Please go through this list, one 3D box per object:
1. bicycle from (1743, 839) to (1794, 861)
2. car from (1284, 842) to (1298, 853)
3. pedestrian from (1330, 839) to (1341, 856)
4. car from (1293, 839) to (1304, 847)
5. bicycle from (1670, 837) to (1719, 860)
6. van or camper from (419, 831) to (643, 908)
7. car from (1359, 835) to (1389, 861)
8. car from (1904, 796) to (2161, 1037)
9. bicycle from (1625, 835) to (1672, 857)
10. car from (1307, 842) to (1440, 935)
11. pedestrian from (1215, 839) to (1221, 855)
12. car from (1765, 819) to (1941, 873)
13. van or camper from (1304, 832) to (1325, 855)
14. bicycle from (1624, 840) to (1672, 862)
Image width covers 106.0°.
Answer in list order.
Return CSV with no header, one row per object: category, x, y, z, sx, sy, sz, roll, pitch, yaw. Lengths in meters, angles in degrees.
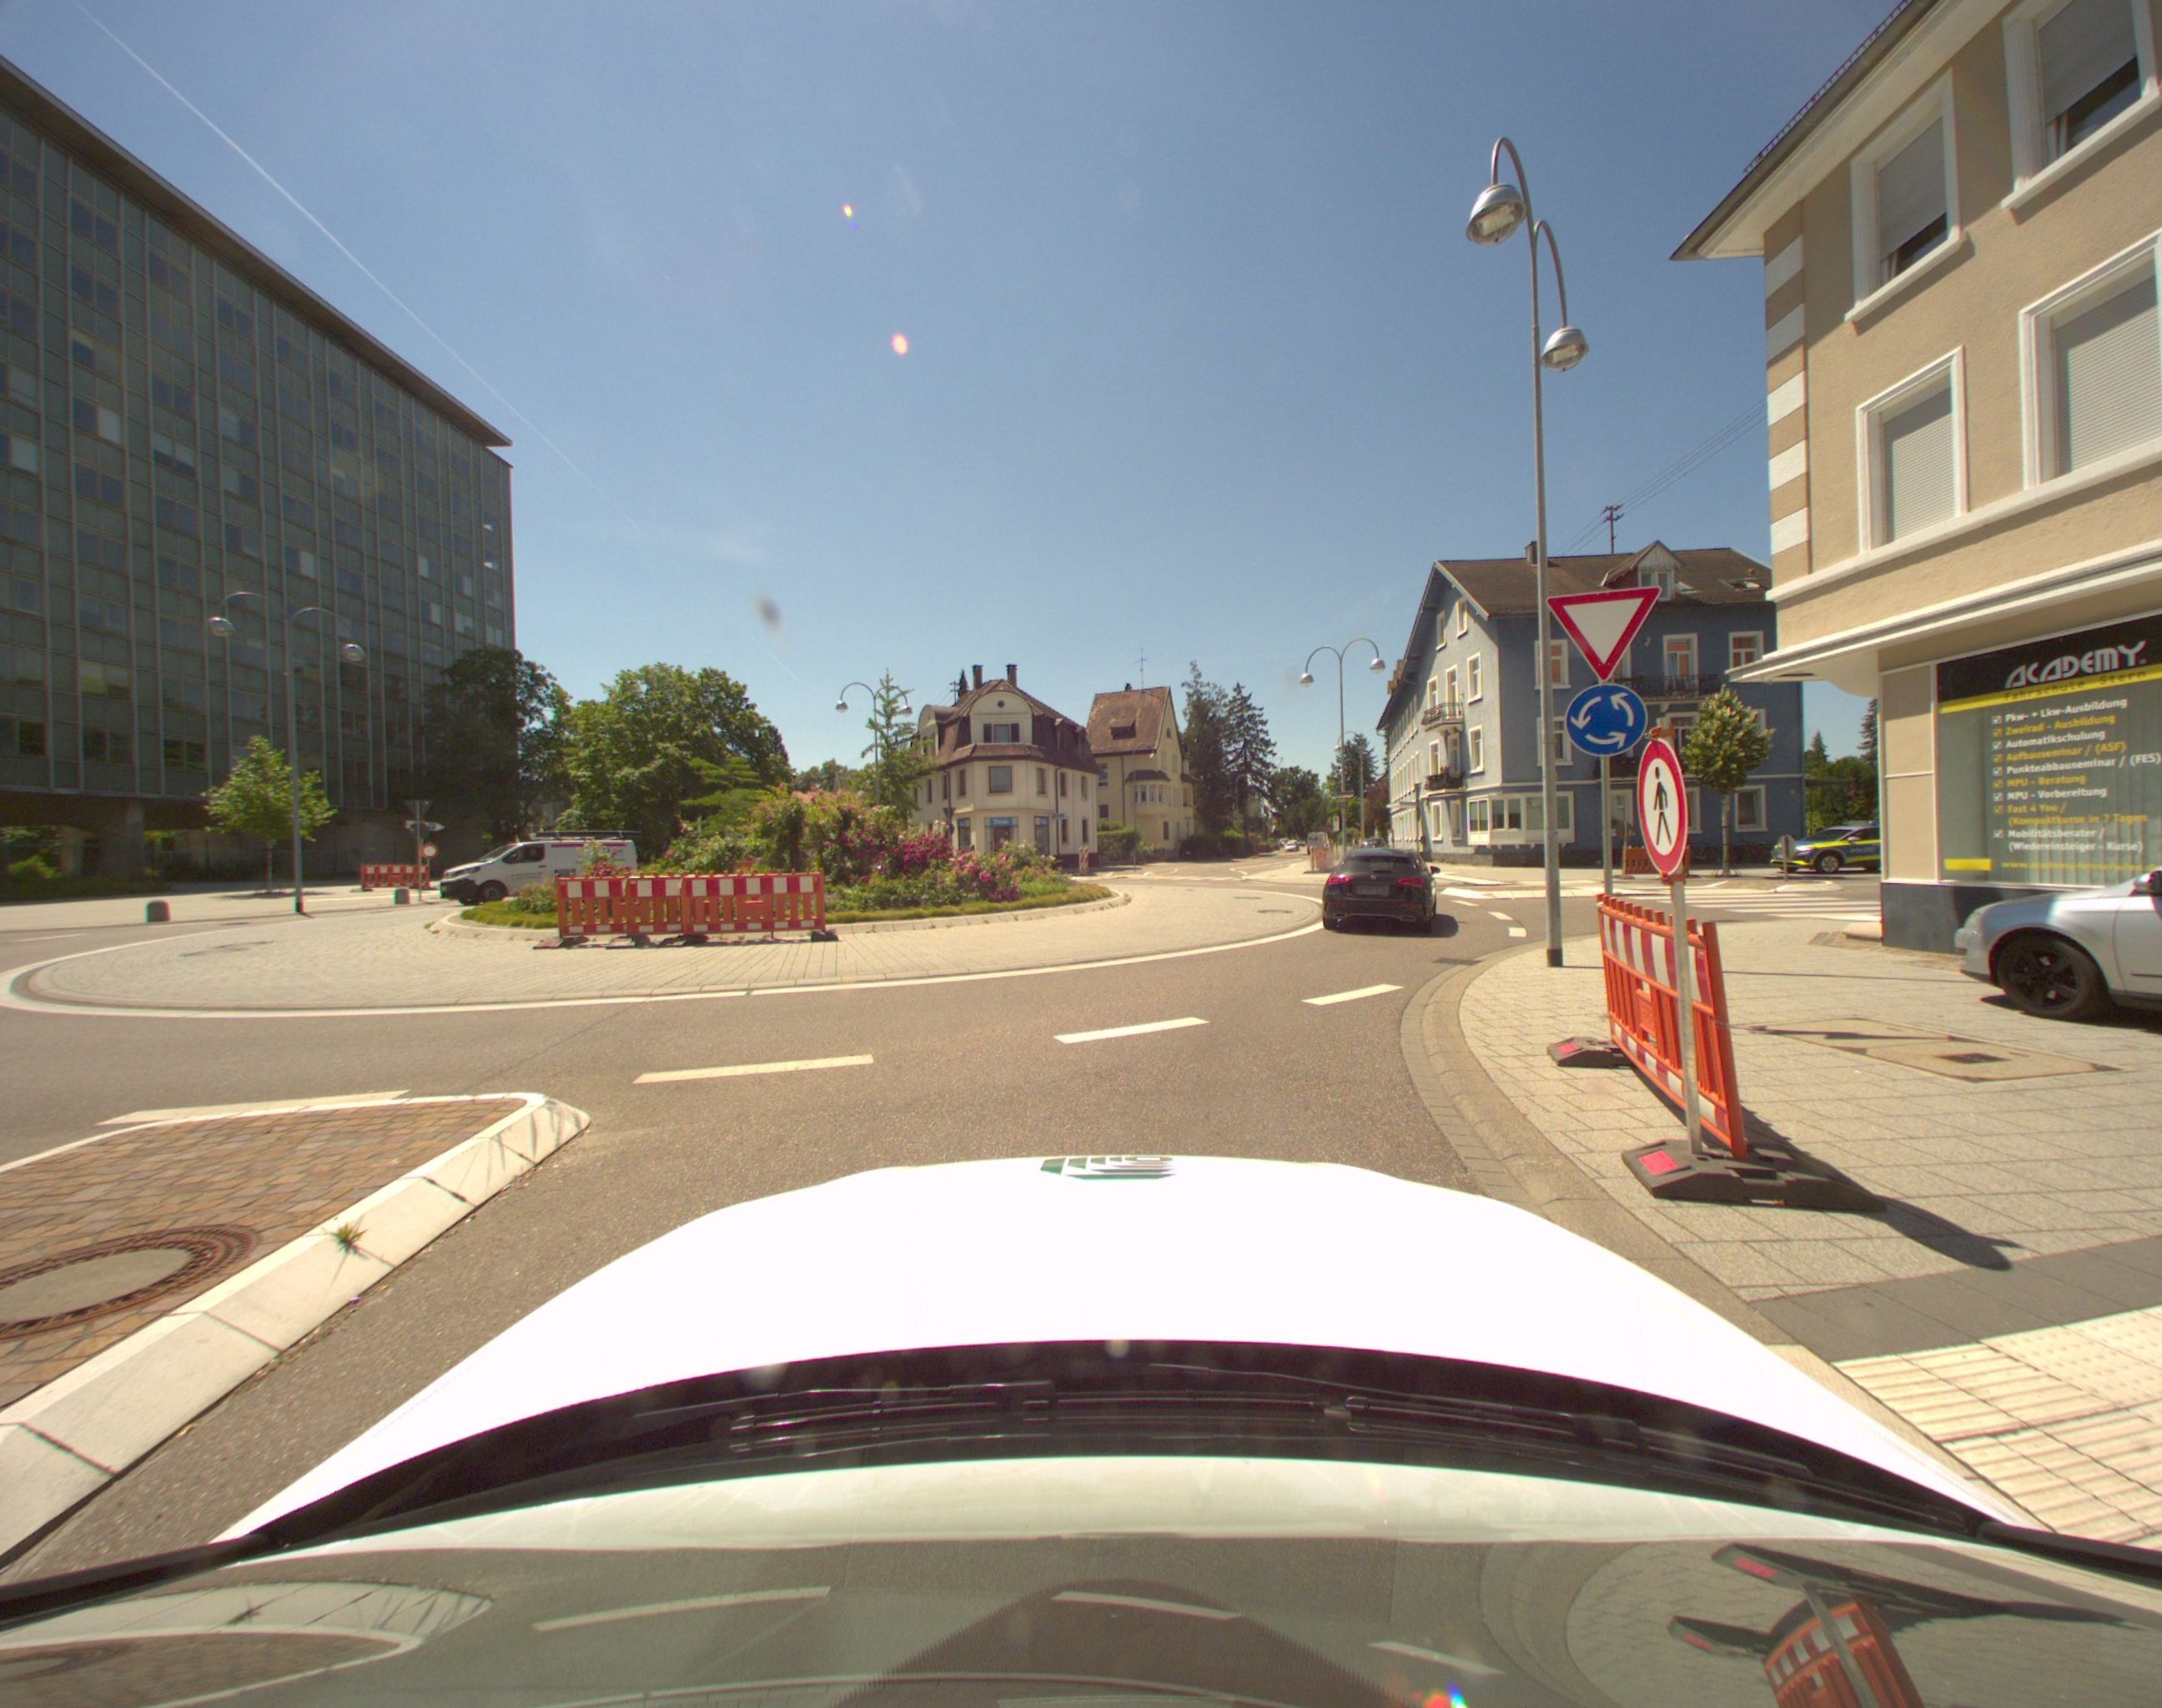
bicycle,29.551,-0.181,35.023,1.699,0.906,0.482,-1,2,4
car,32.645,-1.021,126.499,1.978,1.651,4.018,-1,0,17
pedestrian,19.982,-0.543,63.854,0.660,1.286,0.590,-5,-1,25
car,47.900,-2.454,179.202,1.978,1.717,4.019,-1,0,18
bicycle,26.438,-0.241,35.118,1.699,0.906,0.482,-1,2,4
van or camper,-17.130,0.412,25.696,1.974,2.171,5.448,-2,0,35
car,19.060,-0.437,53.034,1.626,1.507,3.581,-4,0,18
car,7.691,0.358,4.398,1.758,1.530,4.690,-3,0,1
bicycle,24.706,-0.347,35.449,1.699,0.906,0.441,-1,2,4
car,5.567,0.512,15.202,1.935,1.427,4.024,1,2,25
pedestrian,13.553,-0.689,80.582,0.518,1.509,0.476,-1,0,24
car,26.679,-0.294,28.263,4.216,1.743,1.909,-1,1,4
van or camper,27.061,-1.235,94.254,2.189,2.610,4.018,-1,0,16
bicycle,24.343,-0.127,34.995,1.699,0.906,0.441,-1,2,4
